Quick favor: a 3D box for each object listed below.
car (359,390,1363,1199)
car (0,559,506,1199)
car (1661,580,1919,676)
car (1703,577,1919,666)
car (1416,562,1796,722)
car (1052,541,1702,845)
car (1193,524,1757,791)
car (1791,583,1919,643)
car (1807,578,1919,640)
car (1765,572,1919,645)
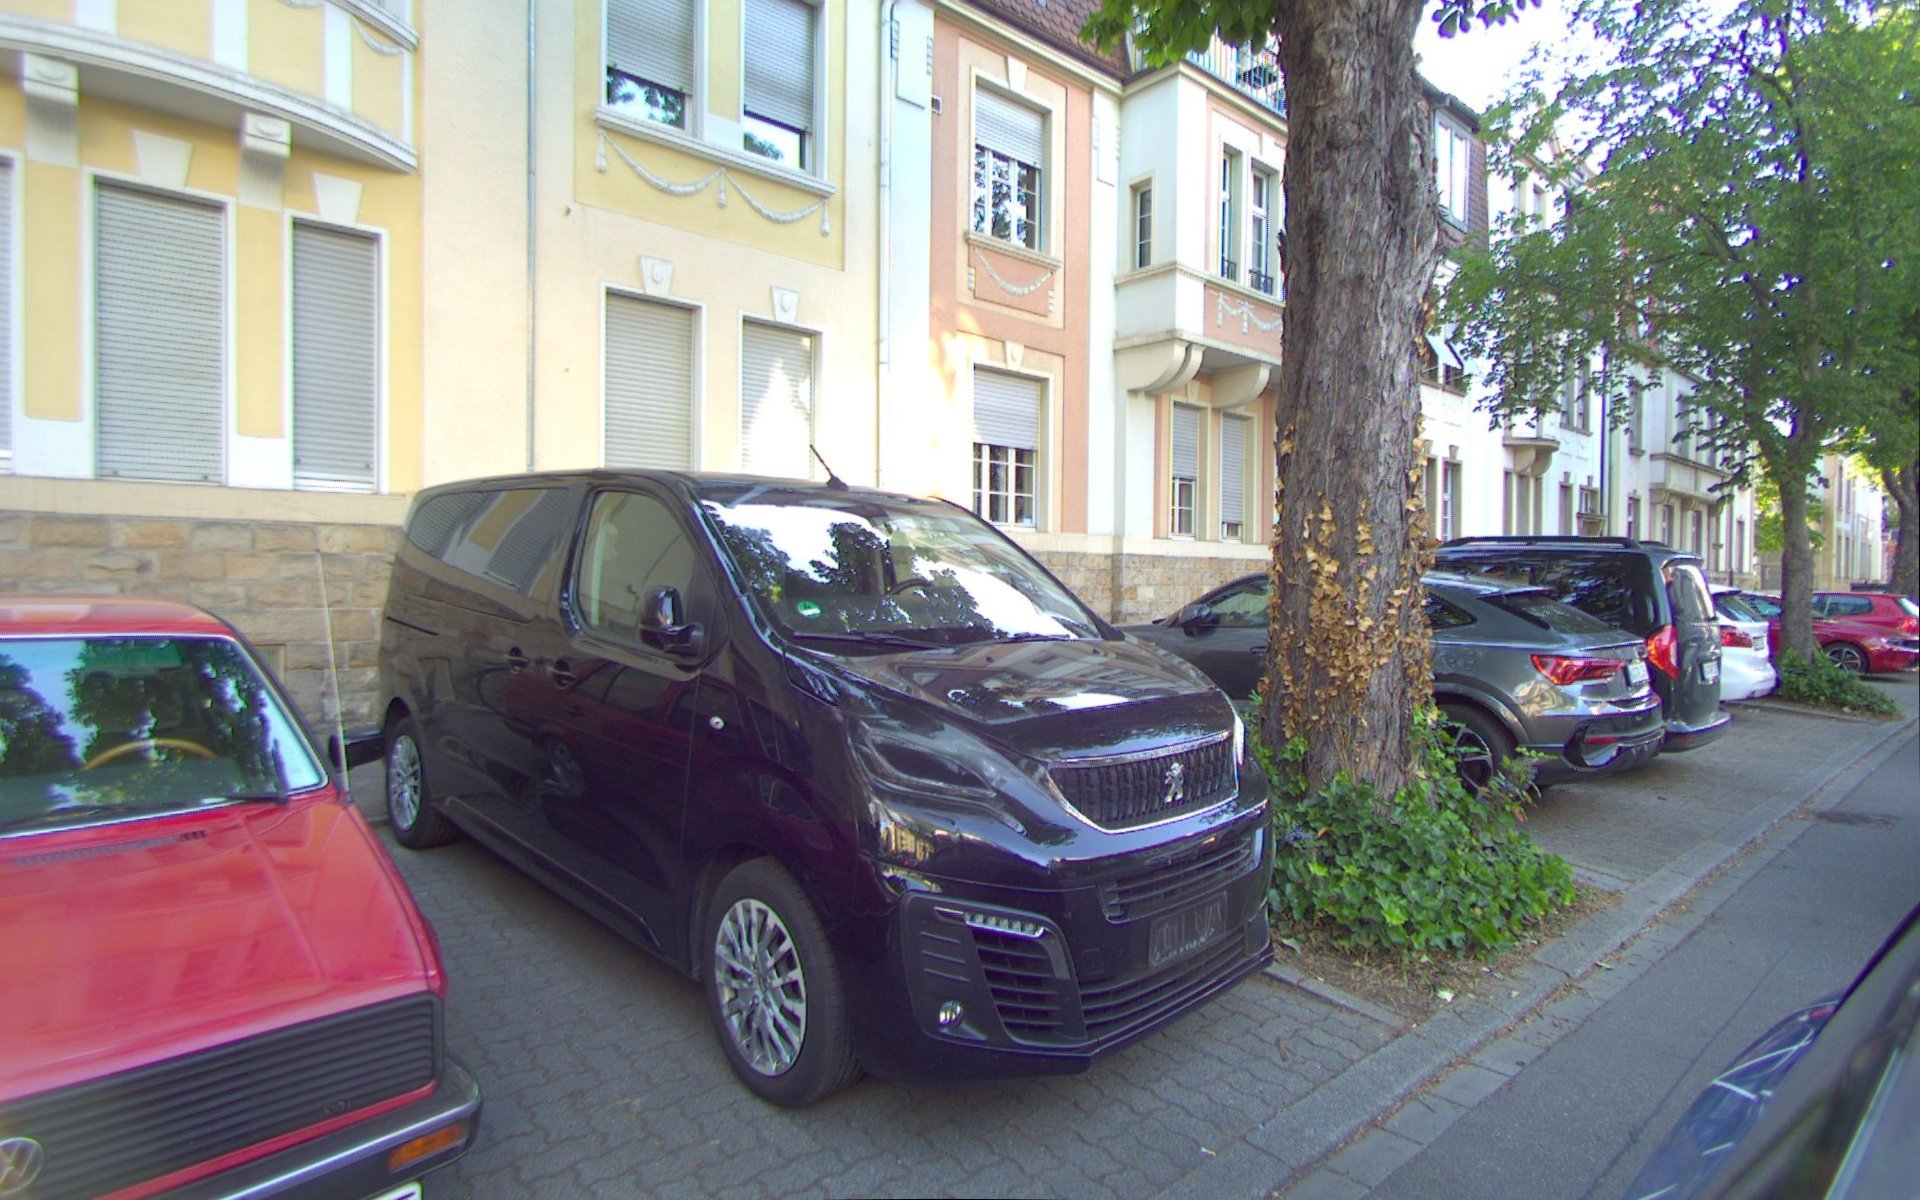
[{"bbox_3d":[-0.985,0.335,4.532,1.851,1.846,4.825,-1,4,-44],"label":"car"},{"bbox_3d":[-2.804,0.593,2.976,1.532,1.336,3.917,-1,4,-43],"label":"car"},{"bbox_3d":[14.920,0.420,18.107,1.511,1.420,3.621,0,3,-40],"label":"car"},{"bbox_3d":[16.868,0.361,19.672,1.511,1.482,3.621,0,3,-40],"label":"car"},{"bbox_3d":[7.709,0.381,12.309,1.513,1.569,3.616,-1,3,-45],"label":"car"},{"bbox_3d":[2.791,0.402,7.519,1.569,1.611,4.165,-1,4,-44],"label":"car"},{"bbox_3d":[4.323,0.271,9.027,1.569,1.849,4.165,-1,4,-44],"label":"car"},{"bbox_3d":[23.934,0.324,26.121,1.511,1.420,3.621,0,3,-40],"label":"car"},{"bbox_3d":[25.950,0.241,28.000,1.511,1.584,3.621,0,2,-40],"label":"car"},{"bbox_3d":[21.628,0.171,24.093,1.511,1.584,3.621,0,2,-40],"label":"car"}]
